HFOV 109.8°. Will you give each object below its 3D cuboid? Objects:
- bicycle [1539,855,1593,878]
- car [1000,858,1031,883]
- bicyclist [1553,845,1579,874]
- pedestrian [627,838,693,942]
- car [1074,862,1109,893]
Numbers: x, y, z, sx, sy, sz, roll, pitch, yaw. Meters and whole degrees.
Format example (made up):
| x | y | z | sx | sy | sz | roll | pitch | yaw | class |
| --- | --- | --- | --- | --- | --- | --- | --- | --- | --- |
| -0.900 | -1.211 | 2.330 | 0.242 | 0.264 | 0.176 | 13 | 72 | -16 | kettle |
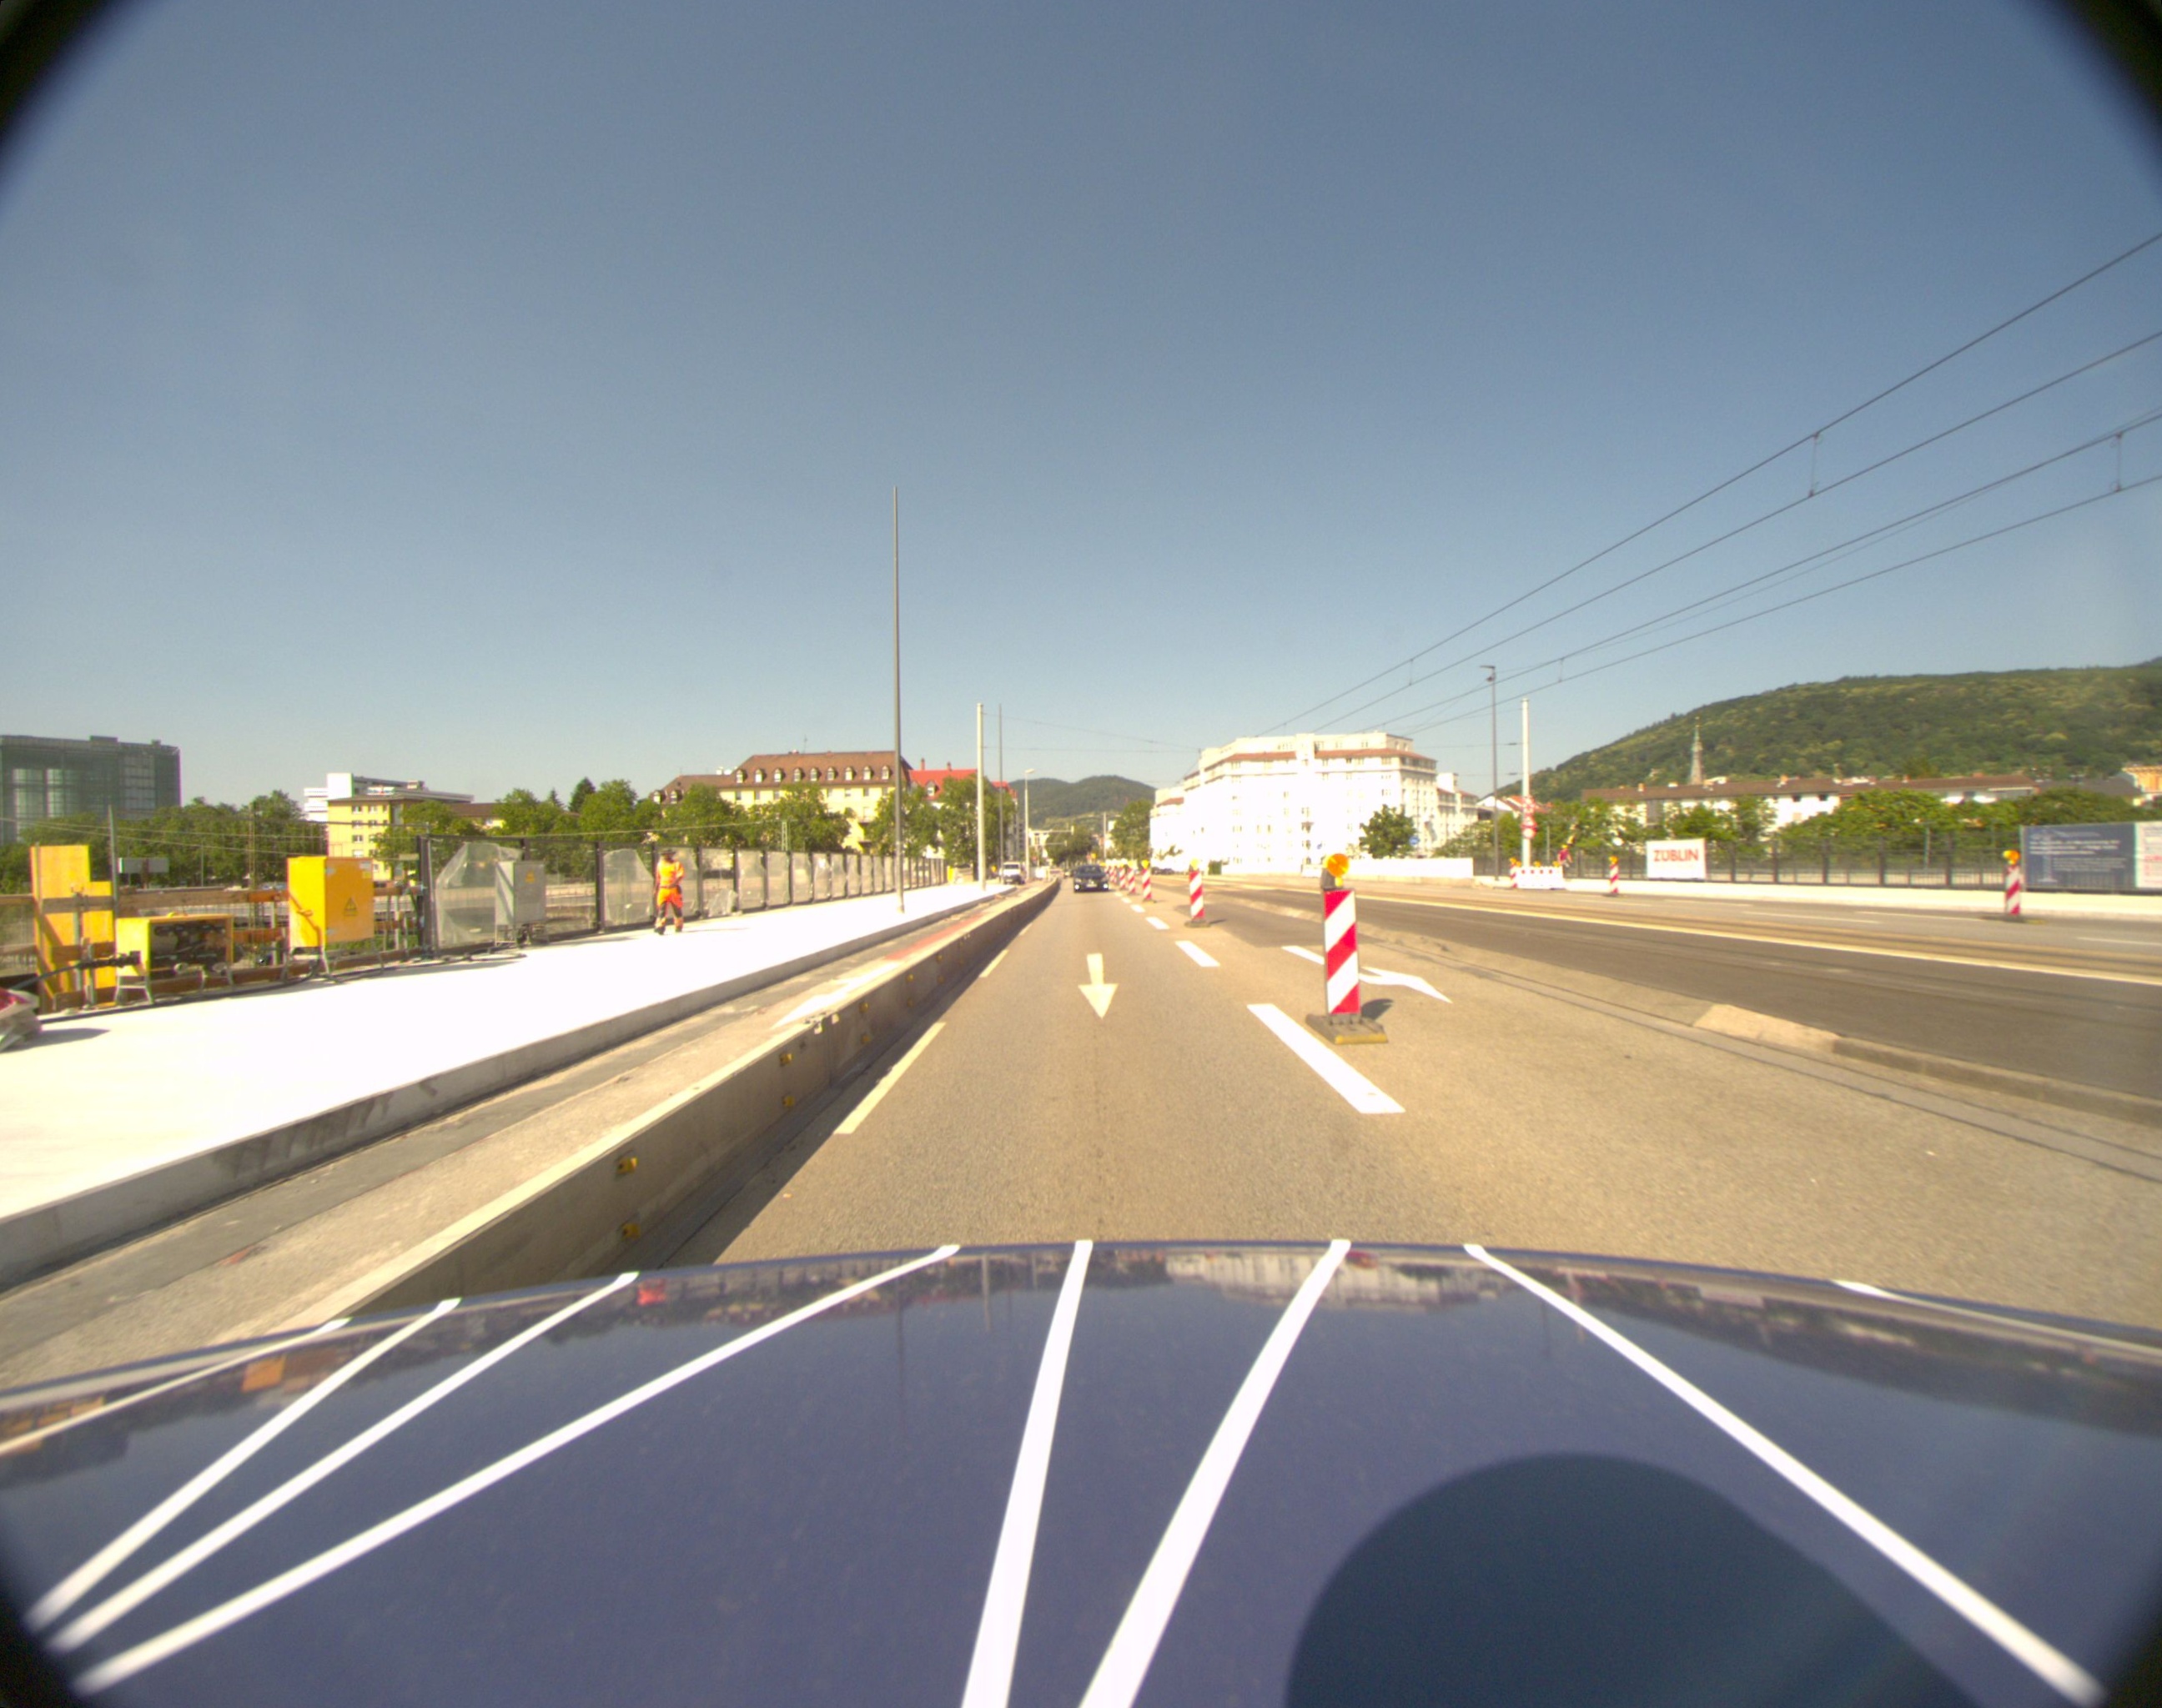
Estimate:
| x | y | z | sx | sy | sz | roll | pitch | yaw | class |
| --- | --- | --- | --- | --- | --- | --- | --- | --- | --- |
| 25.793 | 0.644 | 40.503 | 0.858 | 1.188 | 3.072 | -2 | 0 | 0 | bicycle |
| -5.789 | 1.446 | 67.825 | 1.938 | 2.077 | 6.472 | -1 | -1 | 2 | car |
| 25.774 | 0.297 | 40.387 | 0.858 | 1.510 | 0.817 | -2 | 0 | -1 | bicyclist |
| -8.190 | 0.683 | 14.821 | 0.733 | 1.953 | 1.016 | 0 | 0 | 0 | pedestrian |
| 0.507 | 1.188 | 40.239 | 1.698 | 1.388 | 4.362 | -3 | 0 | 0 | car |
